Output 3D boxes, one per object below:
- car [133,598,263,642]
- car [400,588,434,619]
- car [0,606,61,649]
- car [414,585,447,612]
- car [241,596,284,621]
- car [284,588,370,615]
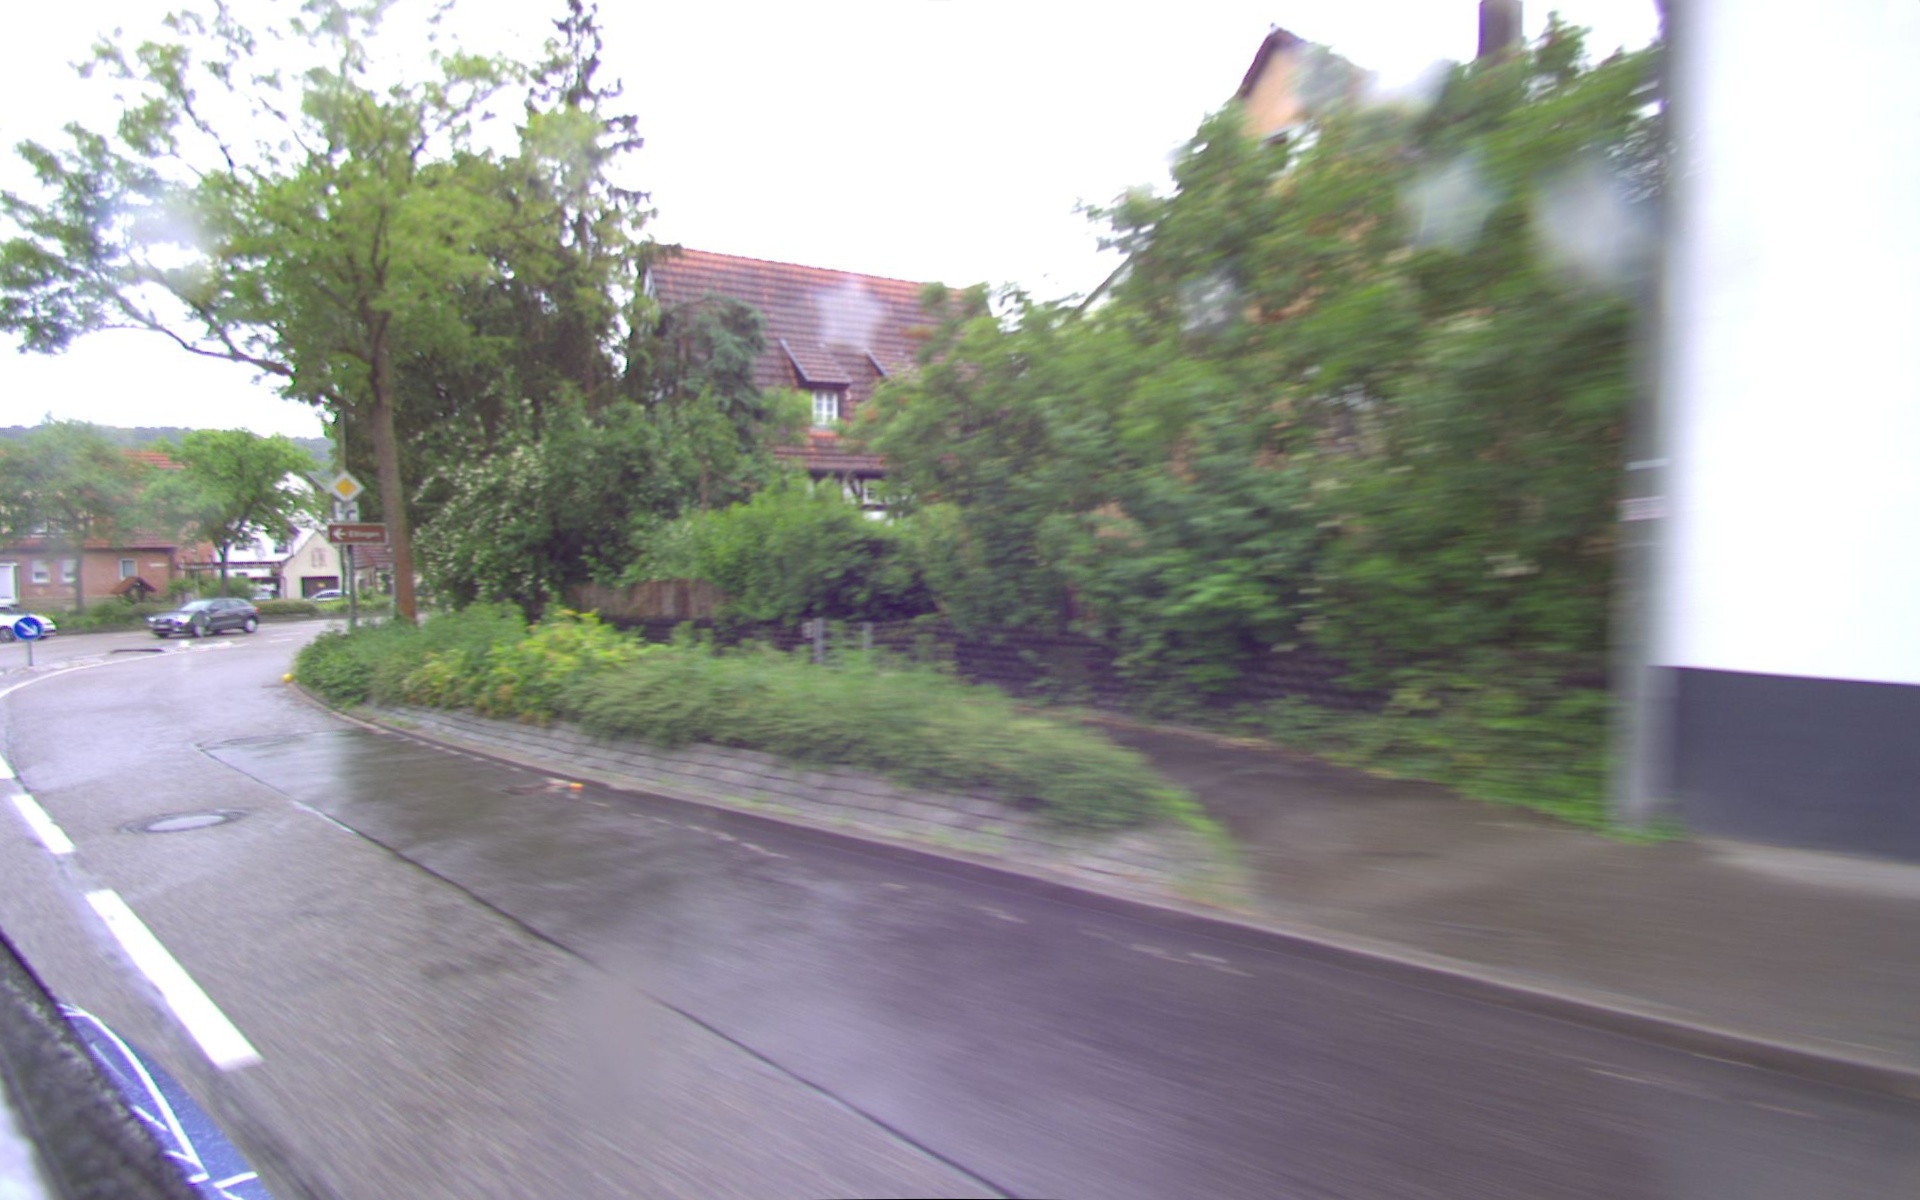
[{"bbox_3d":[-31.126,0.775,41.508,1.977,1.541,3.990,-1,2,8],"label":"car"},{"bbox_3d":[-33.964,0.196,63.256,1.719,1.594,4.013,-4,6,-30],"label":"car"},{"bbox_3d":[-38.212,1.122,39.812,4.091,1.547,1.758,-2,2,0],"label":"car"},{"bbox_3d":[-33.071,-0.100,63.204,1.689,1.541,3.443,-3,3,-28],"label":"car"},{"bbox_3d":[-46.030,0.515,66.833,1.574,1.507,4.013,-3,2,-25],"label":"car"},{"bbox_3d":[-38.803,0.065,62.144,4.191,1.449,1.915,-2,4,-24],"label":"car"}]
